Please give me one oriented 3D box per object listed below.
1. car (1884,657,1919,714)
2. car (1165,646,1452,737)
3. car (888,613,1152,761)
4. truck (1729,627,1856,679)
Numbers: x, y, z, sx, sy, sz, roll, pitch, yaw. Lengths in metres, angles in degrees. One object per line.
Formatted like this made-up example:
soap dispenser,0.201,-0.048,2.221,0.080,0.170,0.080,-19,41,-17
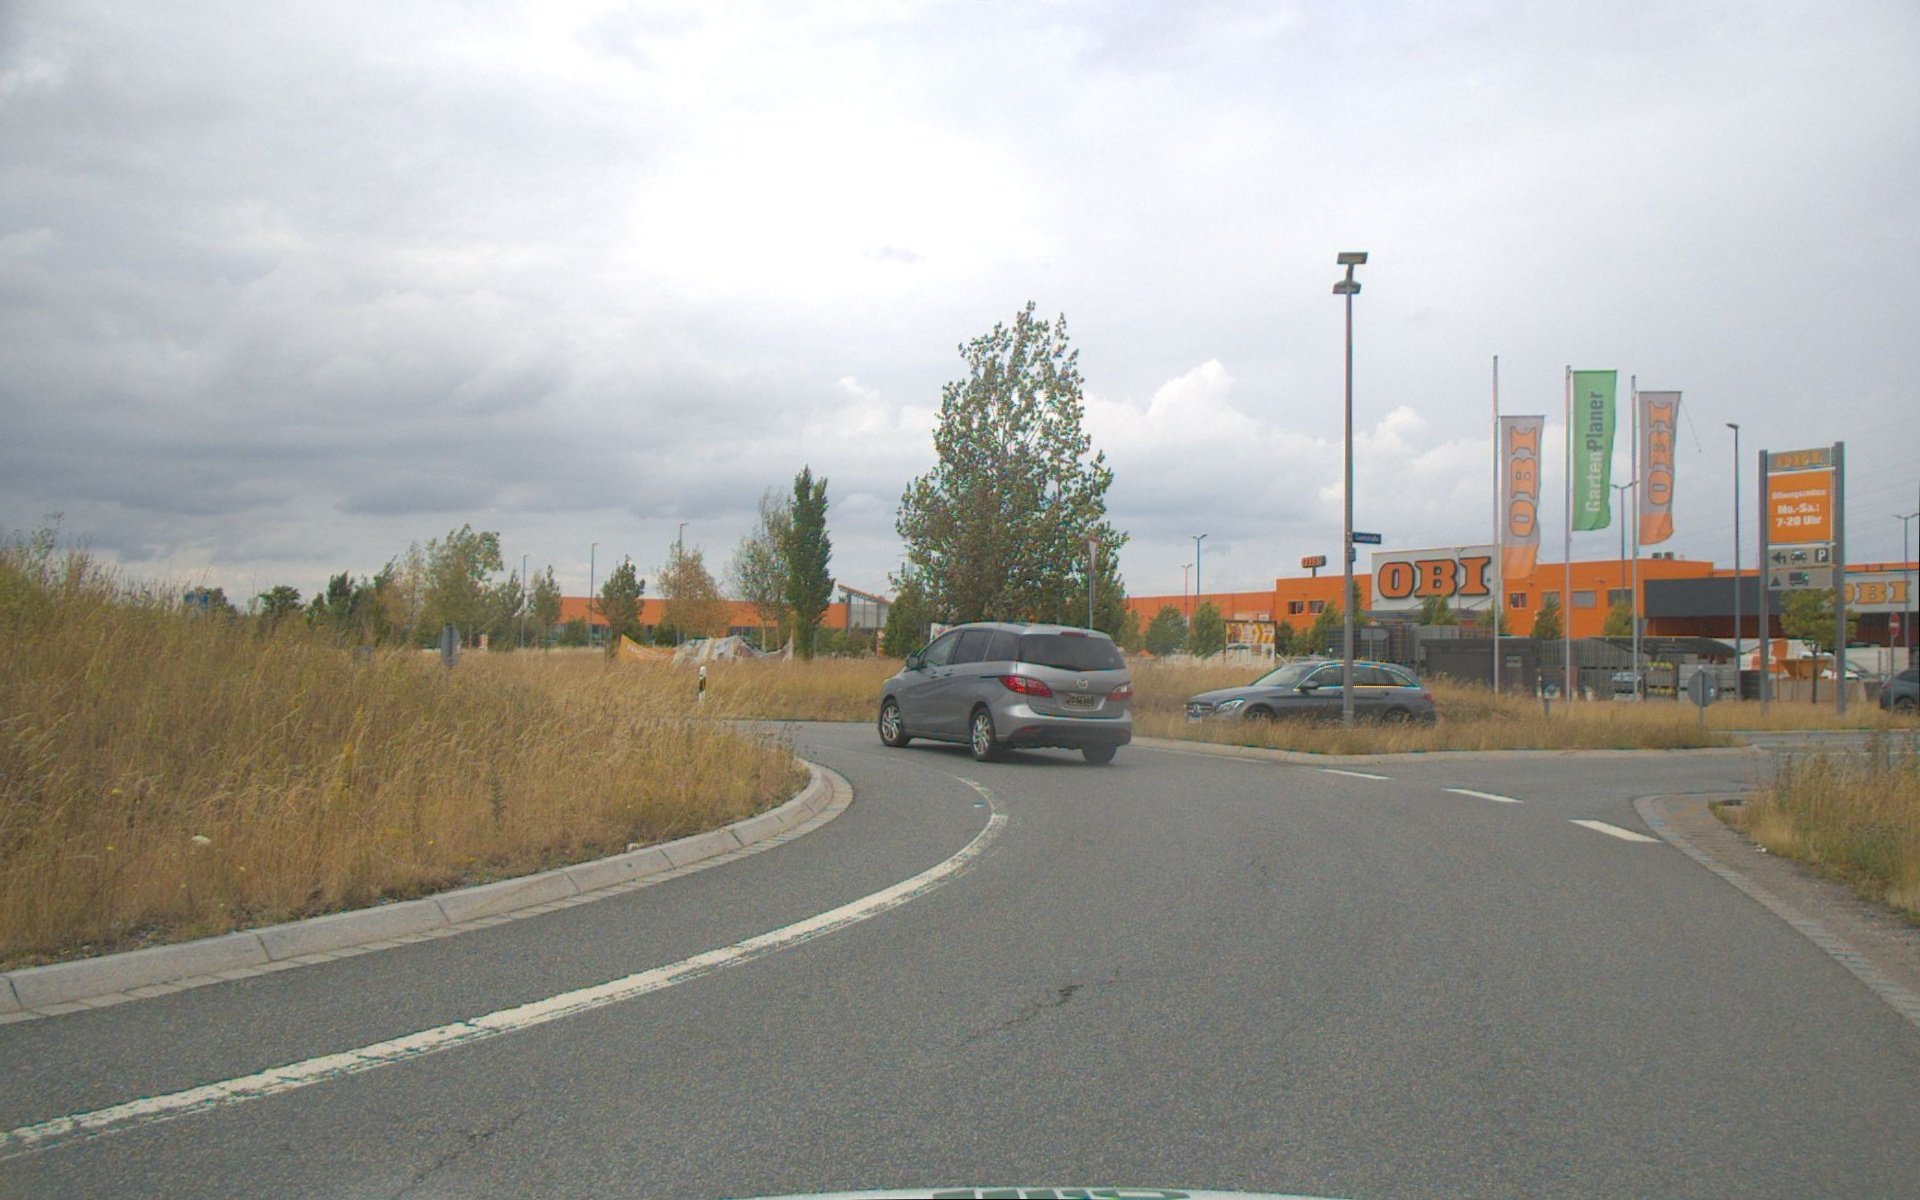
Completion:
car,27.325,2.282,44.143,1.961,1.534,4.661,2,-4,-15
car,6.096,1.602,28.948,4.604,1.428,1.917,3,-2,-20
car,0.622,1.036,20.319,1.714,1.627,3.969,2,-2,-23
truck,43.511,2.819,86.568,2.410,2.528,5.485,4,-4,-33
